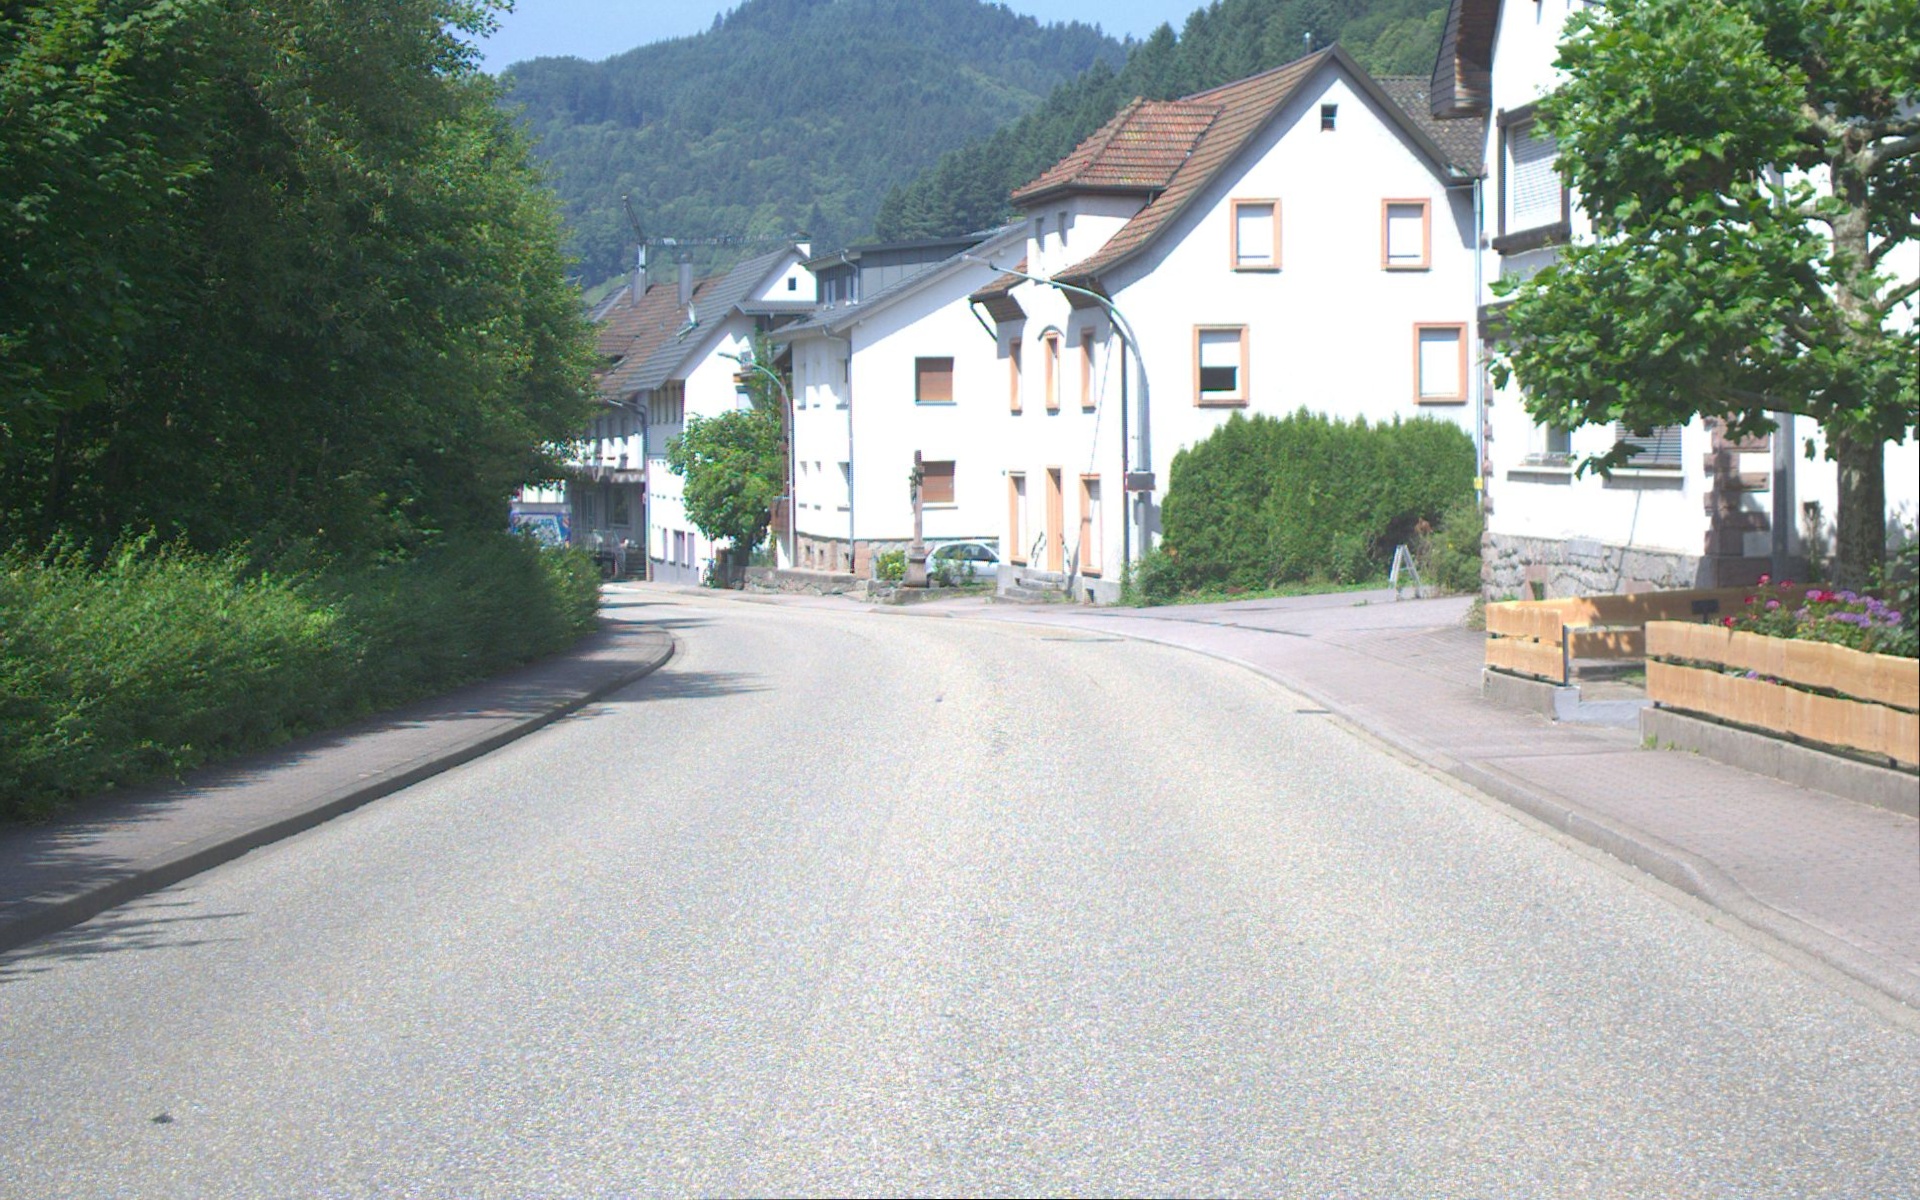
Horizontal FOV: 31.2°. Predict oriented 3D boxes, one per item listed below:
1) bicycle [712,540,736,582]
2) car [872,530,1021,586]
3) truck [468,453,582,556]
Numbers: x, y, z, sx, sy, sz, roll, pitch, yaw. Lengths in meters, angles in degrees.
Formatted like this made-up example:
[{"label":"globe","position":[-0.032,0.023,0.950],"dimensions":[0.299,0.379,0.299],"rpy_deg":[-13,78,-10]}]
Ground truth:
[{"label":"bicycle","position":[-8.109,-1.351,118.004],"dimensions":[0.425,1.391,2.277],"rpy_deg":[-4,2,-11]},{"label":"car","position":[-0.378,-1.141,93.599],"dimensions":[3.771,1.422,1.607],"rpy_deg":[-1,1,34]},{"label":"truck","position":[-18.550,-4.010,146.036],"dimensions":[3.362,3.769,8.442],"rpy_deg":[-4,0,-15]}]
